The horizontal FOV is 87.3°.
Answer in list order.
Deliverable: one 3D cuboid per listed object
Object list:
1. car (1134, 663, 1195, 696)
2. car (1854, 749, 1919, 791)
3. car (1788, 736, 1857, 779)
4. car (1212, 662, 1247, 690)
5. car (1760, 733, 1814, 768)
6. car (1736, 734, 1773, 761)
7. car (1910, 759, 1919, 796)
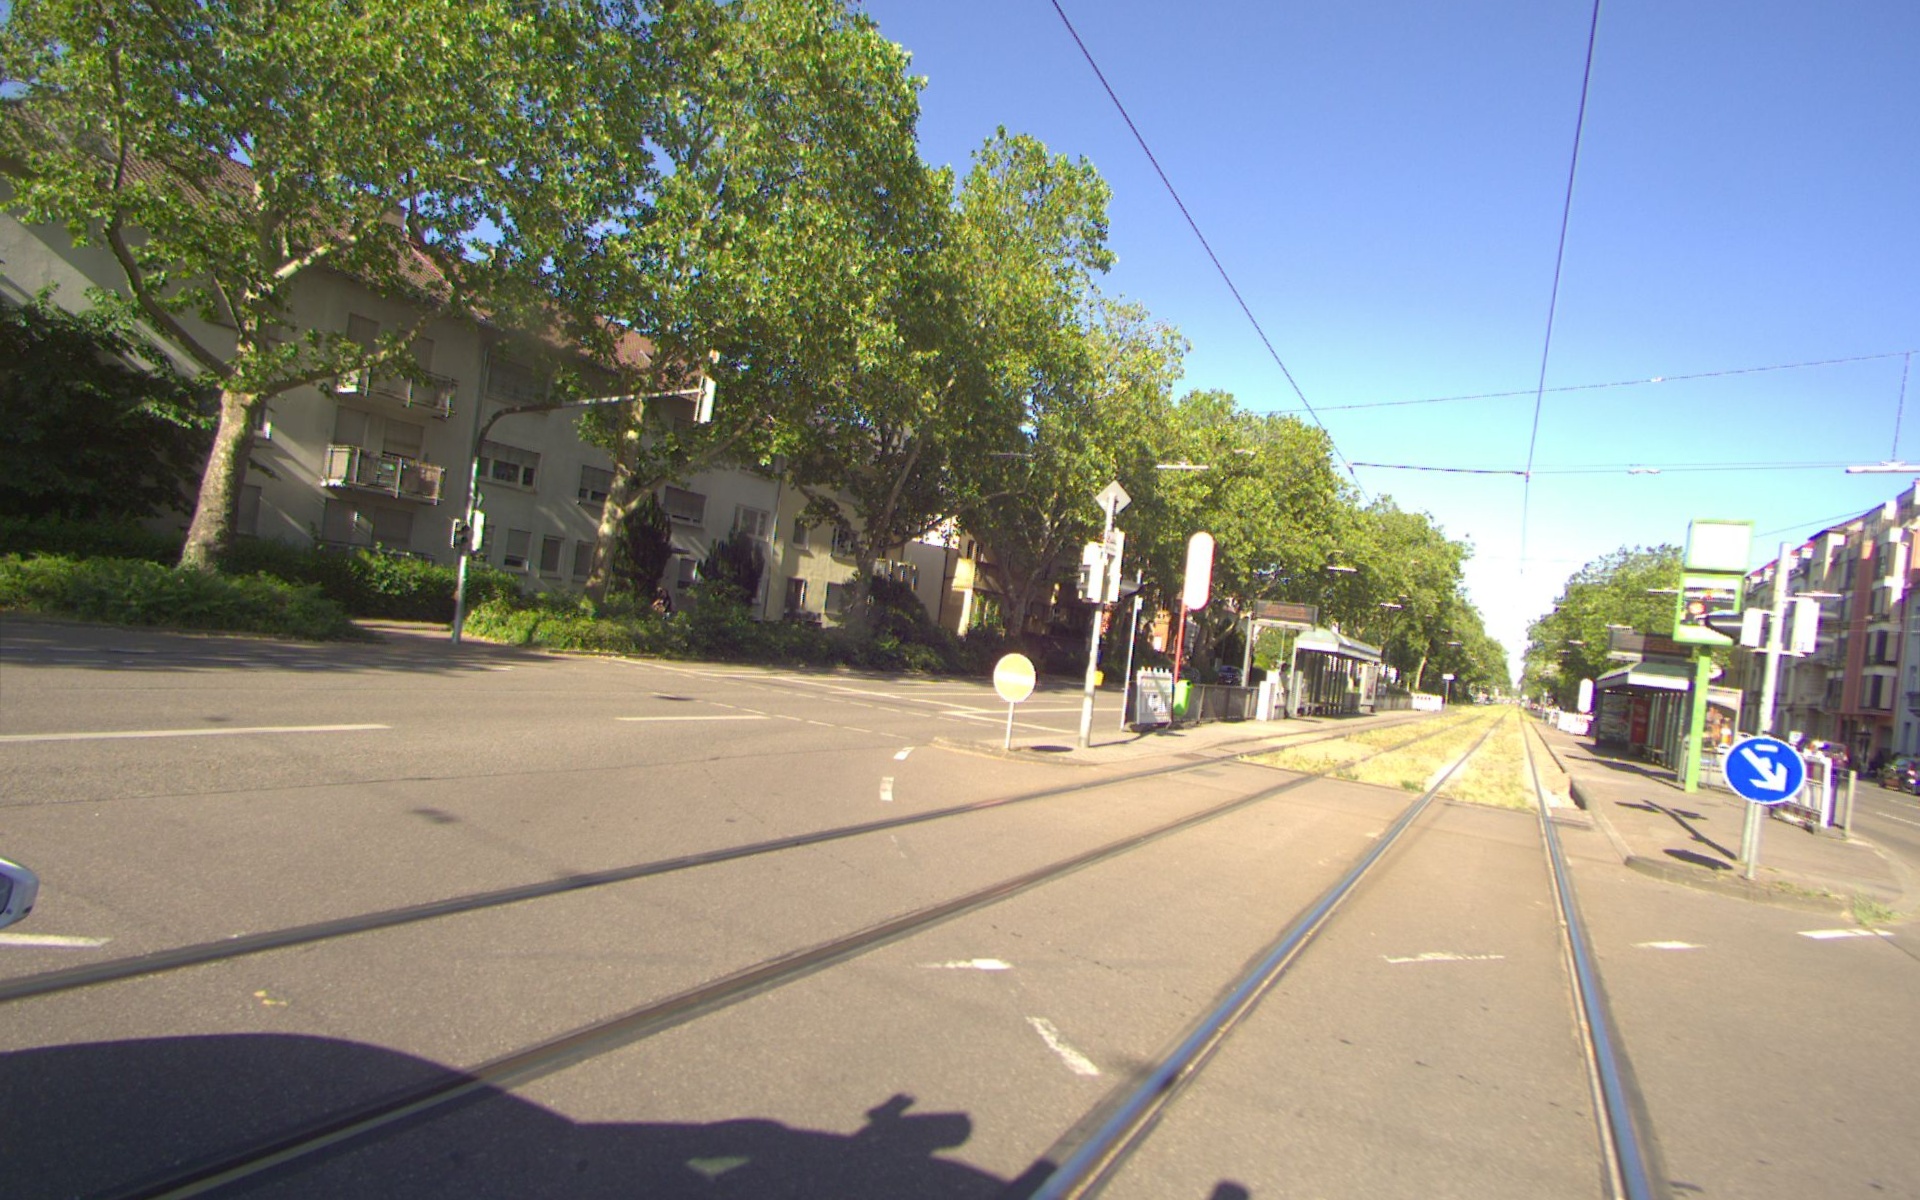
[{"bbox_3d":[12.442,4.831,61.047,1.804,1.424,3.874,6,-4,41],"label":"car"},{"bbox_3d":[42.069,7.661,45.196,1.721,1.437,3.998,8,-1,27],"label":"car"},{"bbox_3d":[50.392,9.173,58.860,1.995,1.917,3.997,8,-1,28],"label":"car"},{"bbox_3d":[24.846,7.028,92.771,1.966,2.035,4.000,7,-3,29],"label":"car"},{"bbox_3d":[54.475,9.878,66.325,1.769,1.811,3.997,8,-1,28],"label":"car"},{"bbox_3d":[59.181,10.952,74.998,1.535,1.625,3.570,8,-1,30],"label":"car"},{"bbox_3d":[39.936,7.359,40.160,1.721,1.437,3.998,8,-1,27],"label":"car"}]
